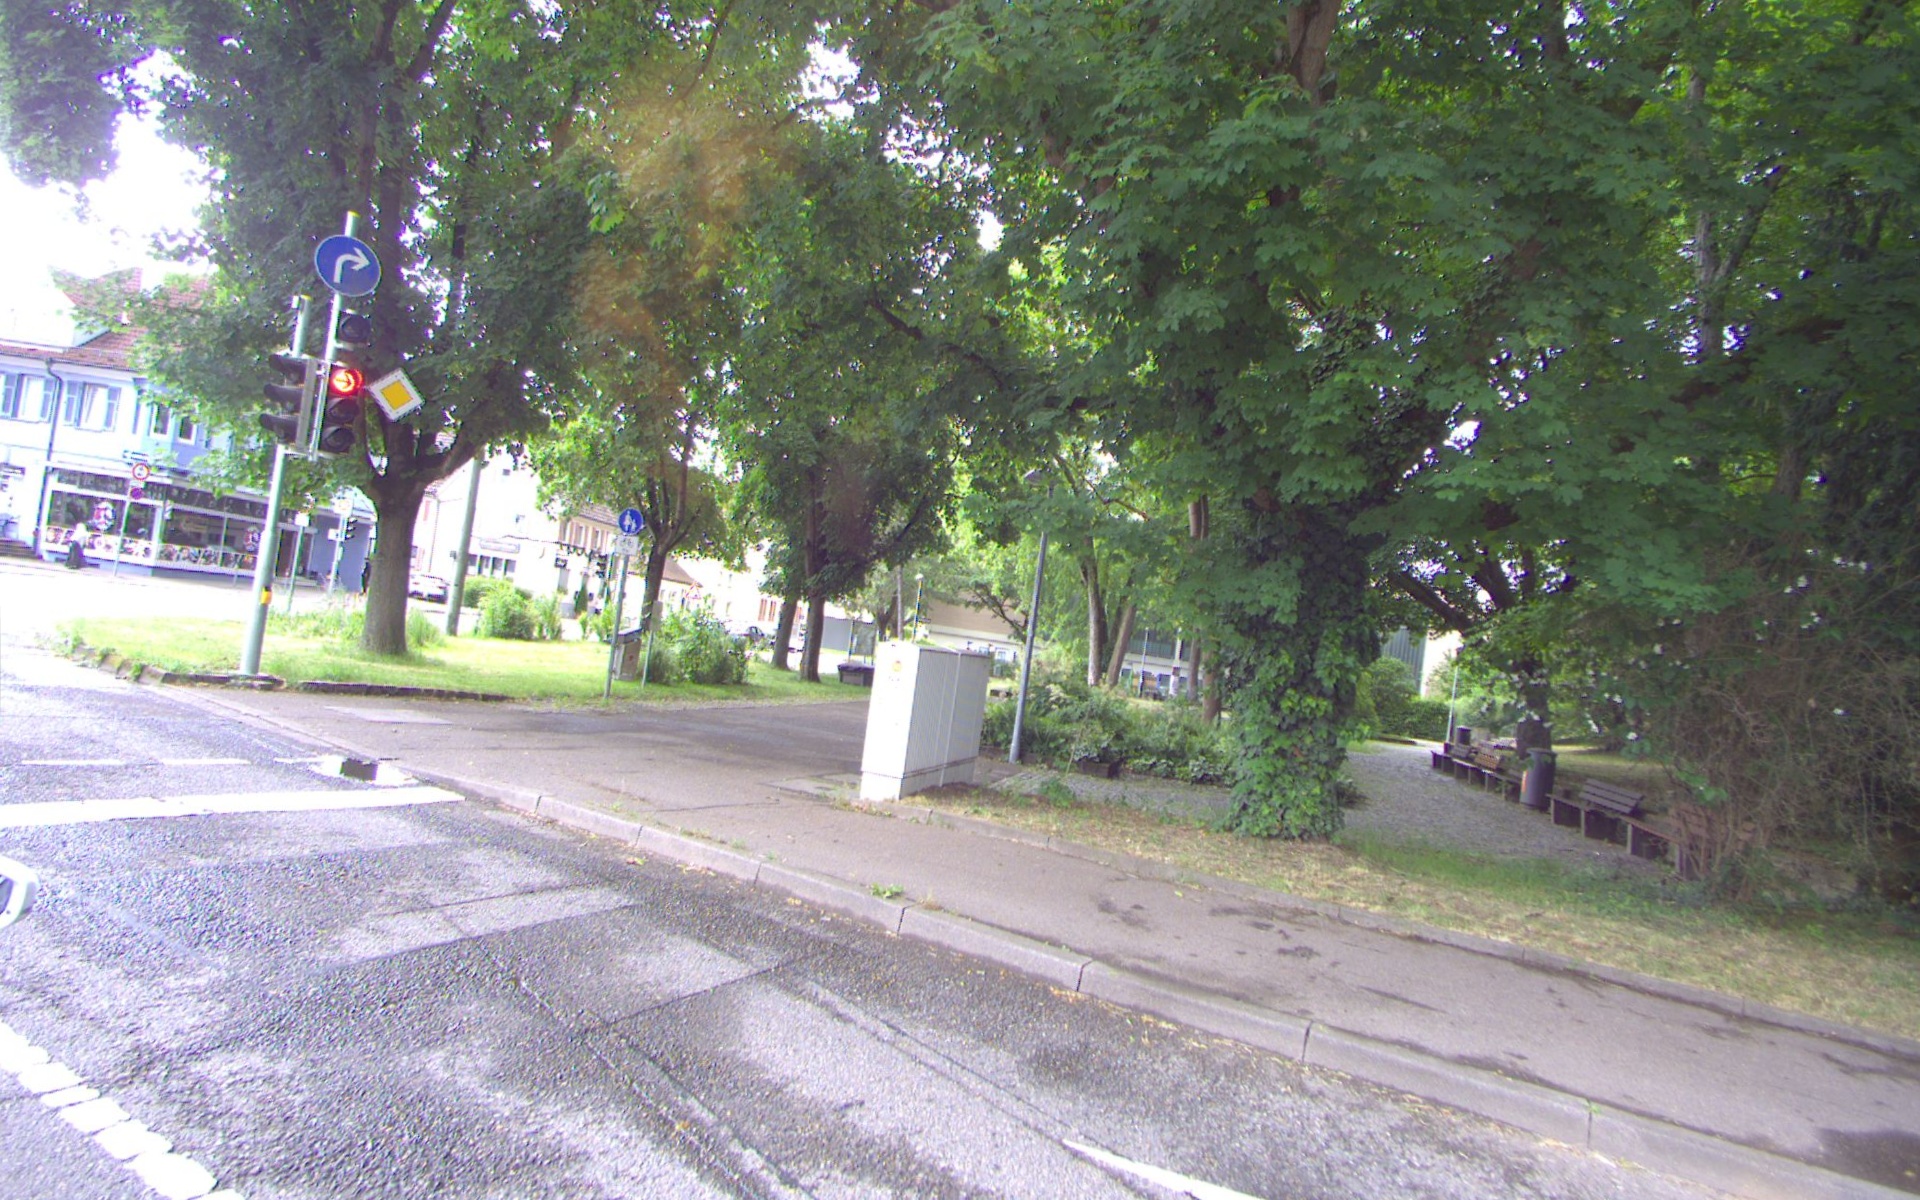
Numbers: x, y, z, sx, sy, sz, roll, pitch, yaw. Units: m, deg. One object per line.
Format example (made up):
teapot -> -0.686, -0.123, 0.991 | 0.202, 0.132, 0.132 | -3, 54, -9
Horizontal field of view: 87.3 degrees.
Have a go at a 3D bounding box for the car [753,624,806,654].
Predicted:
car -> -10.698, 2.336, 59.908 | 1.618, 1.474, 3.740 | 7, -2, 13

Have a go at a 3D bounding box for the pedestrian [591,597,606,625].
pedestrian -> -21.589, 0.666, 60.071 | 0.500, 1.578, 0.505 | 6, -1, 17

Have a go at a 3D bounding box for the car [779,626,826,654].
car -> -10.271, 2.653, 66.039 | 1.618, 1.474, 3.740 | 7, -2, 13

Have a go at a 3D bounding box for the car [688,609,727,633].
car -> -18.954, 1.590, 75.637 | 1.736, 1.463, 3.865 | 7, -2, 2

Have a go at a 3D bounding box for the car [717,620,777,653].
car -> -11.561, 2.013, 54.934 | 1.618, 1.474, 3.740 | 7, -2, 13

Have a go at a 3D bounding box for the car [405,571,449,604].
car -> -28.173, -0.693, 53.163 | 1.870, 1.406, 3.589 | 9, -2, -28

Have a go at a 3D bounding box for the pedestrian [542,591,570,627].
pedestrian -> -12.974, 0.294, 32.303 | 0.506, 1.093, 0.507 | 6, -1, 17

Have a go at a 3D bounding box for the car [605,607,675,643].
car -> -13.987, 1.106, 44.142 | 1.436, 1.282, 3.014 | 7, -2, 13

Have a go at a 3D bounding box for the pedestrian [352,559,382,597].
pedestrian -> -26.767, -0.973, 45.422 | 0.732, 1.578, 0.673 | 6, -1, 17

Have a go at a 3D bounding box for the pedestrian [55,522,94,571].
pedestrian -> -30.134, -1.810, 34.243 | 0.688, 1.578, 0.662 | 7, -1, -27
